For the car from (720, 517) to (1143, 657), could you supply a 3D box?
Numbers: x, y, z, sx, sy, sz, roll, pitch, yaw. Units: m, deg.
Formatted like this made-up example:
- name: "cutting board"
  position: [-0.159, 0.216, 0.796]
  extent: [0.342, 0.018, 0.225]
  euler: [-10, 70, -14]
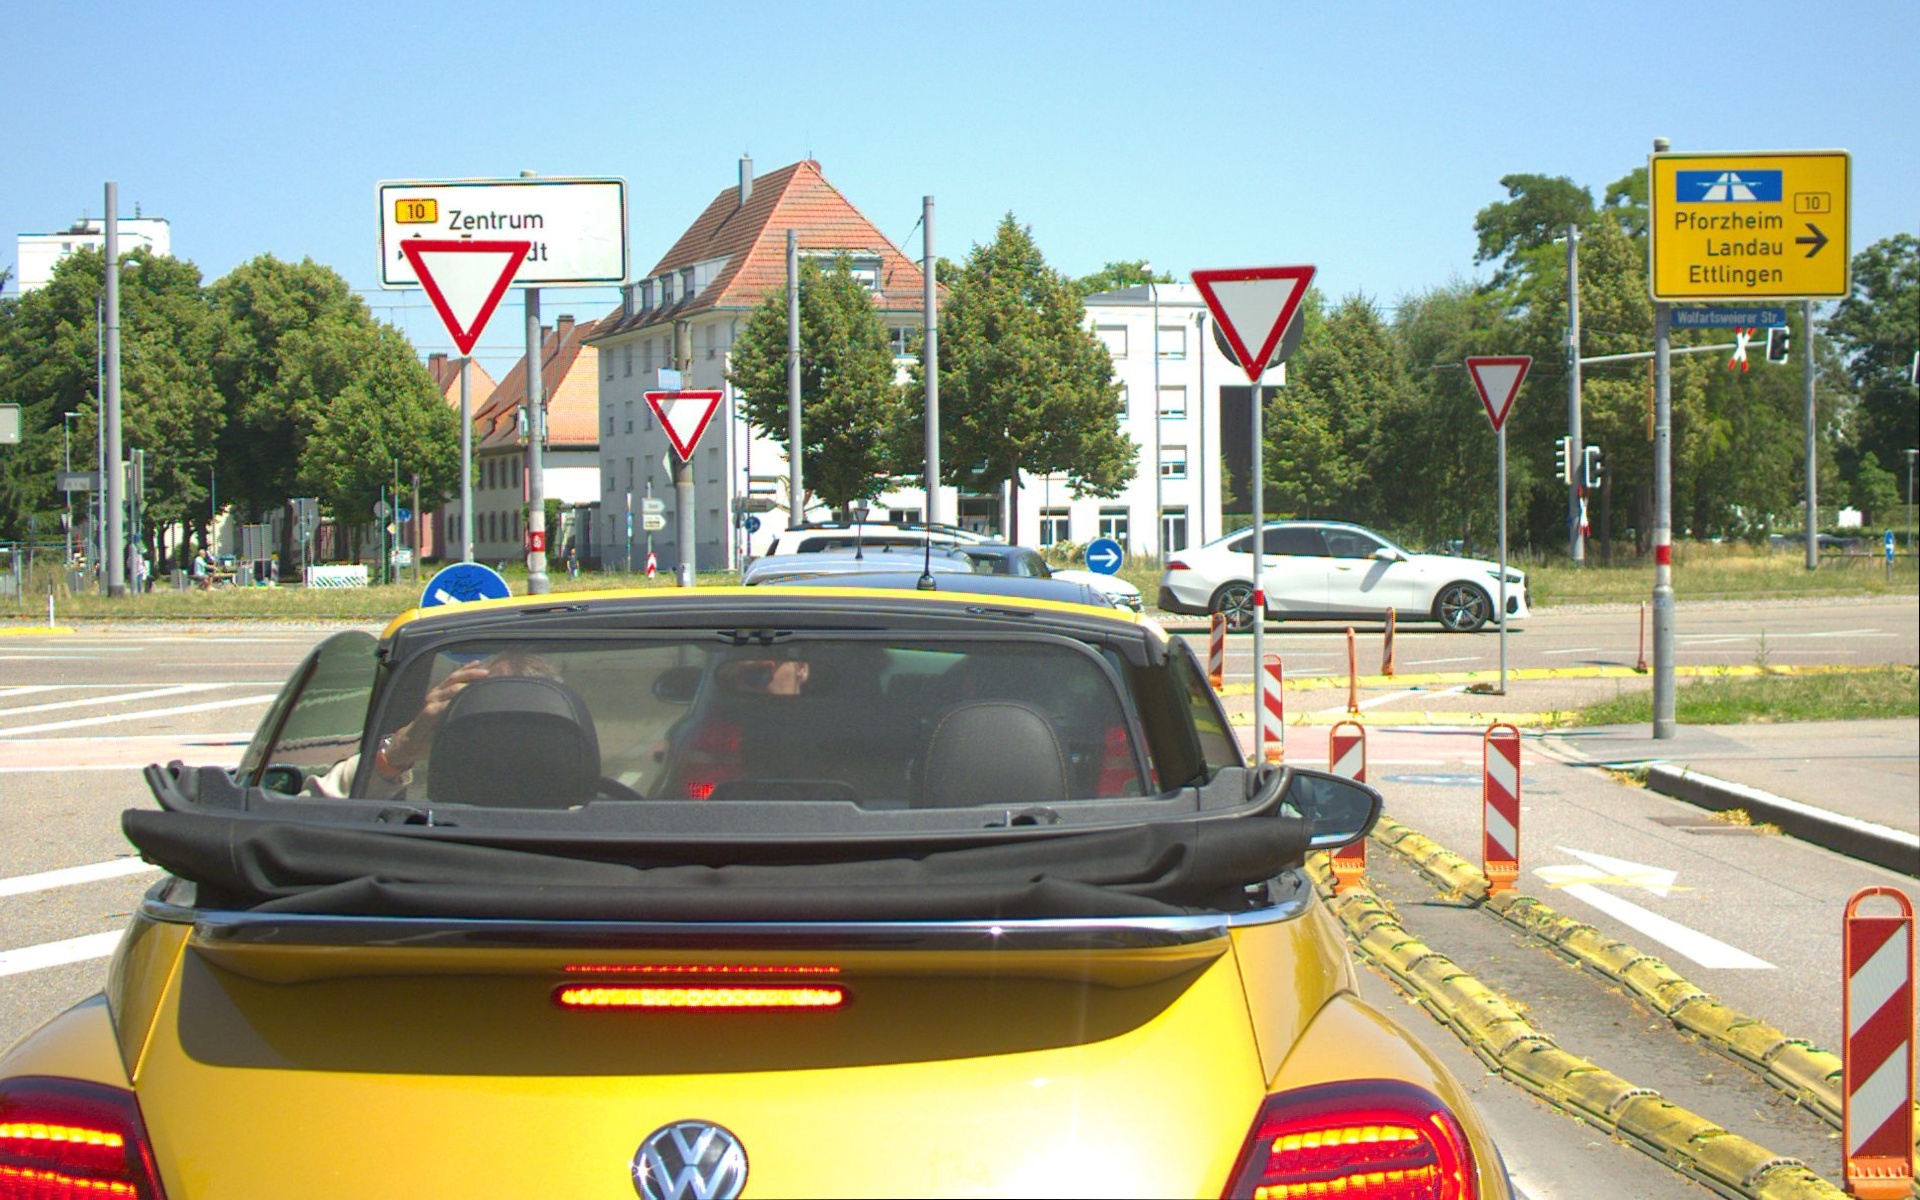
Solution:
- name: "car"
  position: [-0.311, -0.172, 40.055]
  extent: [4.578, 1.561, 1.999]
  euler: [0, 1, 14]

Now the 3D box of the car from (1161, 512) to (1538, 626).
- name: "car"
  position: [5.296, -0.433, 46.896]
  extent: [4.992, 1.504, 2.000]
  euler: [0, 1, 6]

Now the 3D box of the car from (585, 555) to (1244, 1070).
- name: "car"
  position: [-0.148, 0.571, 11.660]
  extent: [1.848, 1.437, 4.000]
  euler: [0, 1, -1]

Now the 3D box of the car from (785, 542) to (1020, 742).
- name: "car"
  position: [-0.446, 0.281, 27.473]
  extent: [1.736, 1.472, 4.000]
  euler: [0, 1, -1]

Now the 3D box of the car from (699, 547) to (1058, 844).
- name: "car"
  position: [-0.417, 0.432, 18.672]
  extent: [1.736, 1.437, 4.000]
  euler: [0, 1, -1]

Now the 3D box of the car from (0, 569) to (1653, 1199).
- name: "car"
  position: [-0.310, 0.680, 4.844]
  extent: [1.752, 1.417, 3.778]
  euler: [0, 1, -1]
